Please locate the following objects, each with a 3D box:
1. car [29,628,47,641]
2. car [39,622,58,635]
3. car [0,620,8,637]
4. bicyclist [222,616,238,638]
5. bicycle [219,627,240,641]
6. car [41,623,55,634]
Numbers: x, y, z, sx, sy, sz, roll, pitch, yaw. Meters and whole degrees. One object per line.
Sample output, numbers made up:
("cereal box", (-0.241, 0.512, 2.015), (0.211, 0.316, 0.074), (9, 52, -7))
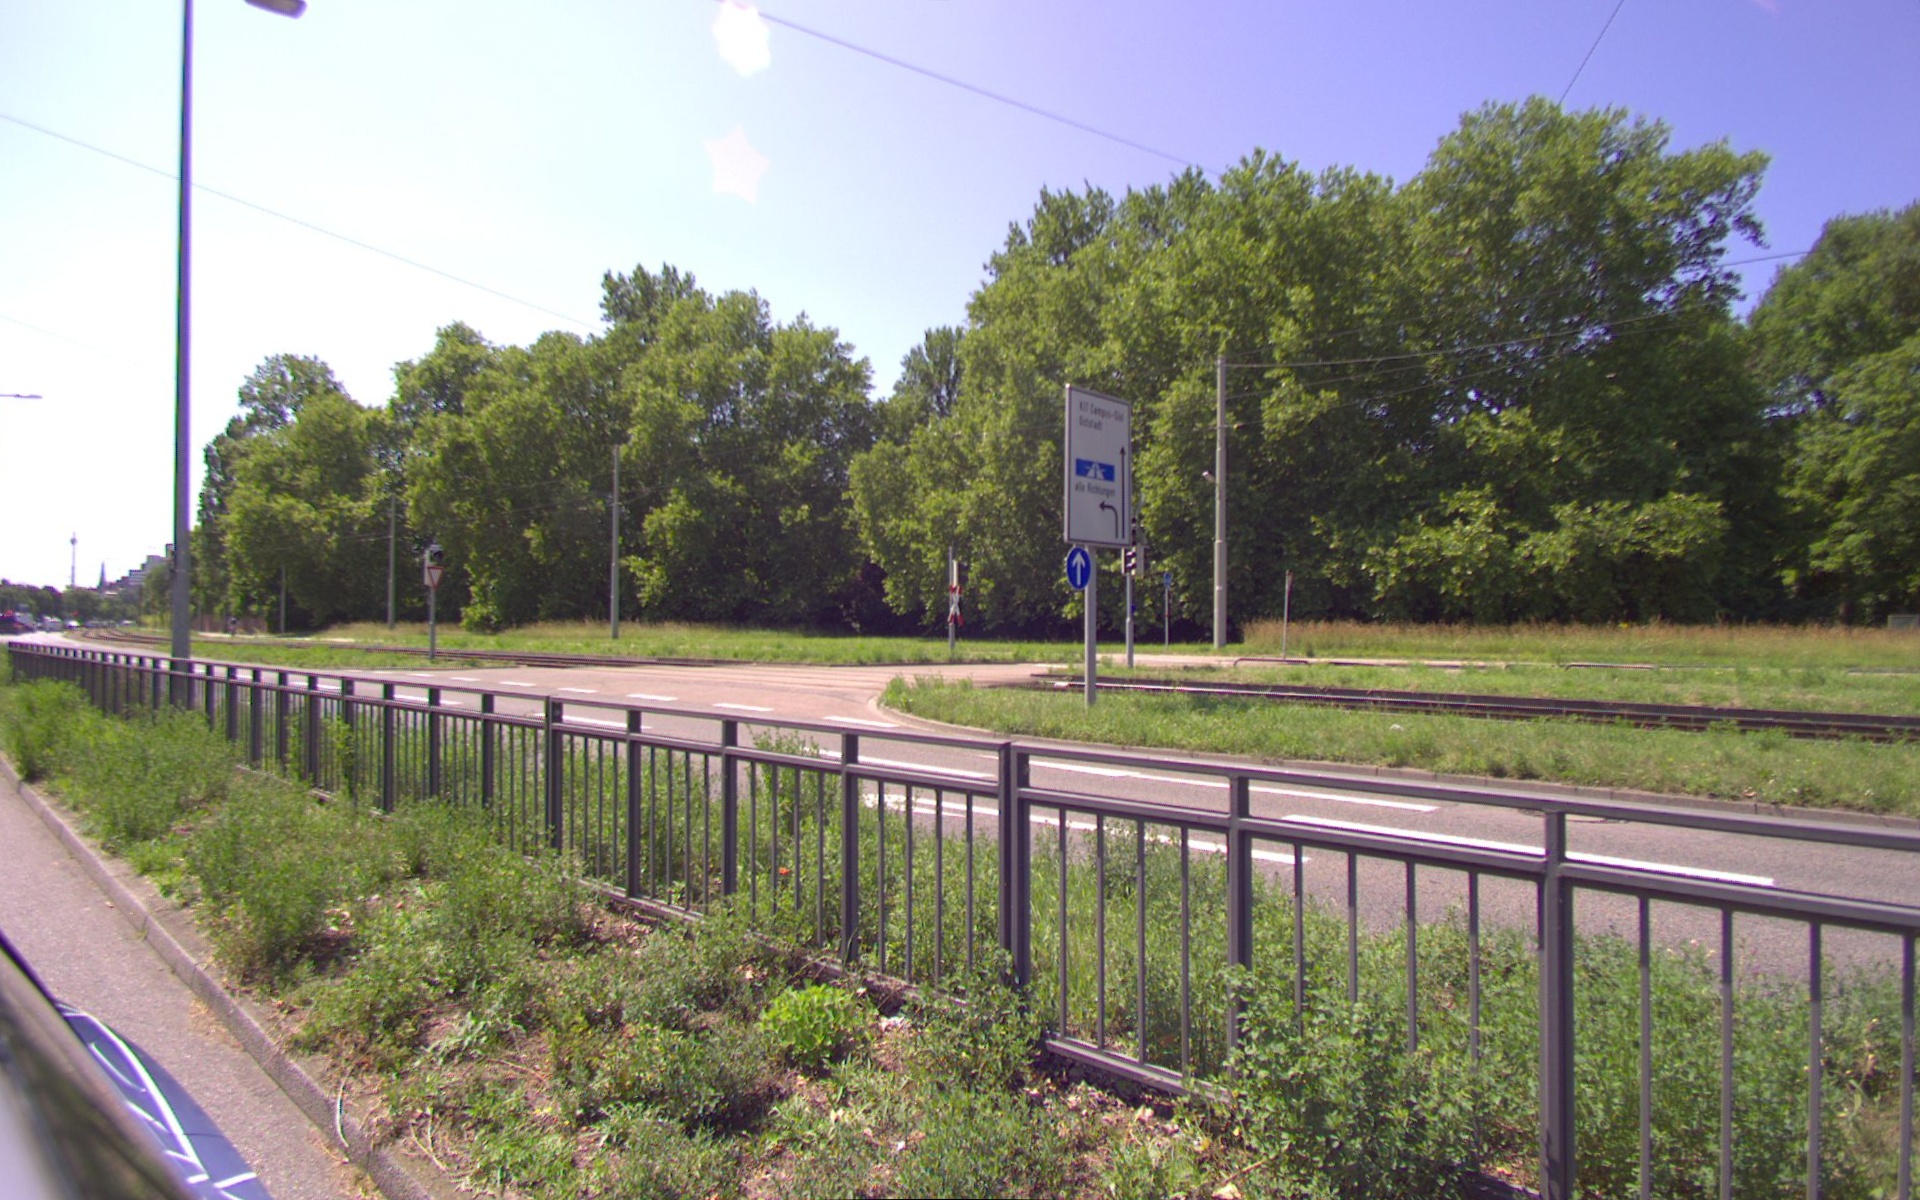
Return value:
("car", (-141.911, 5.263, 155.746), (1.970, 1.871, 4.003), (1, -2, -44))
("car", (-136.688, 4.242, 151.742), (1.970, 1.871, 4.003), (1, -2, -44))
("car", (-107.897, 3.223, 113.169), (1.970, 1.871, 4.004), (1, -2, -43))
("bicyclist", (-61.362, 2.268, 85.076), (1.117, 1.820, 0.851), (-1, -2, 41))
("bicycle", (-61.416, 2.865, 85.078), (2.785, 1.171, 0.851), (-1, -2, 41))
("car", (-171.718, 5.395, 190.568), (1.970, 2.029, 4.004), (-1, 0, -43))
